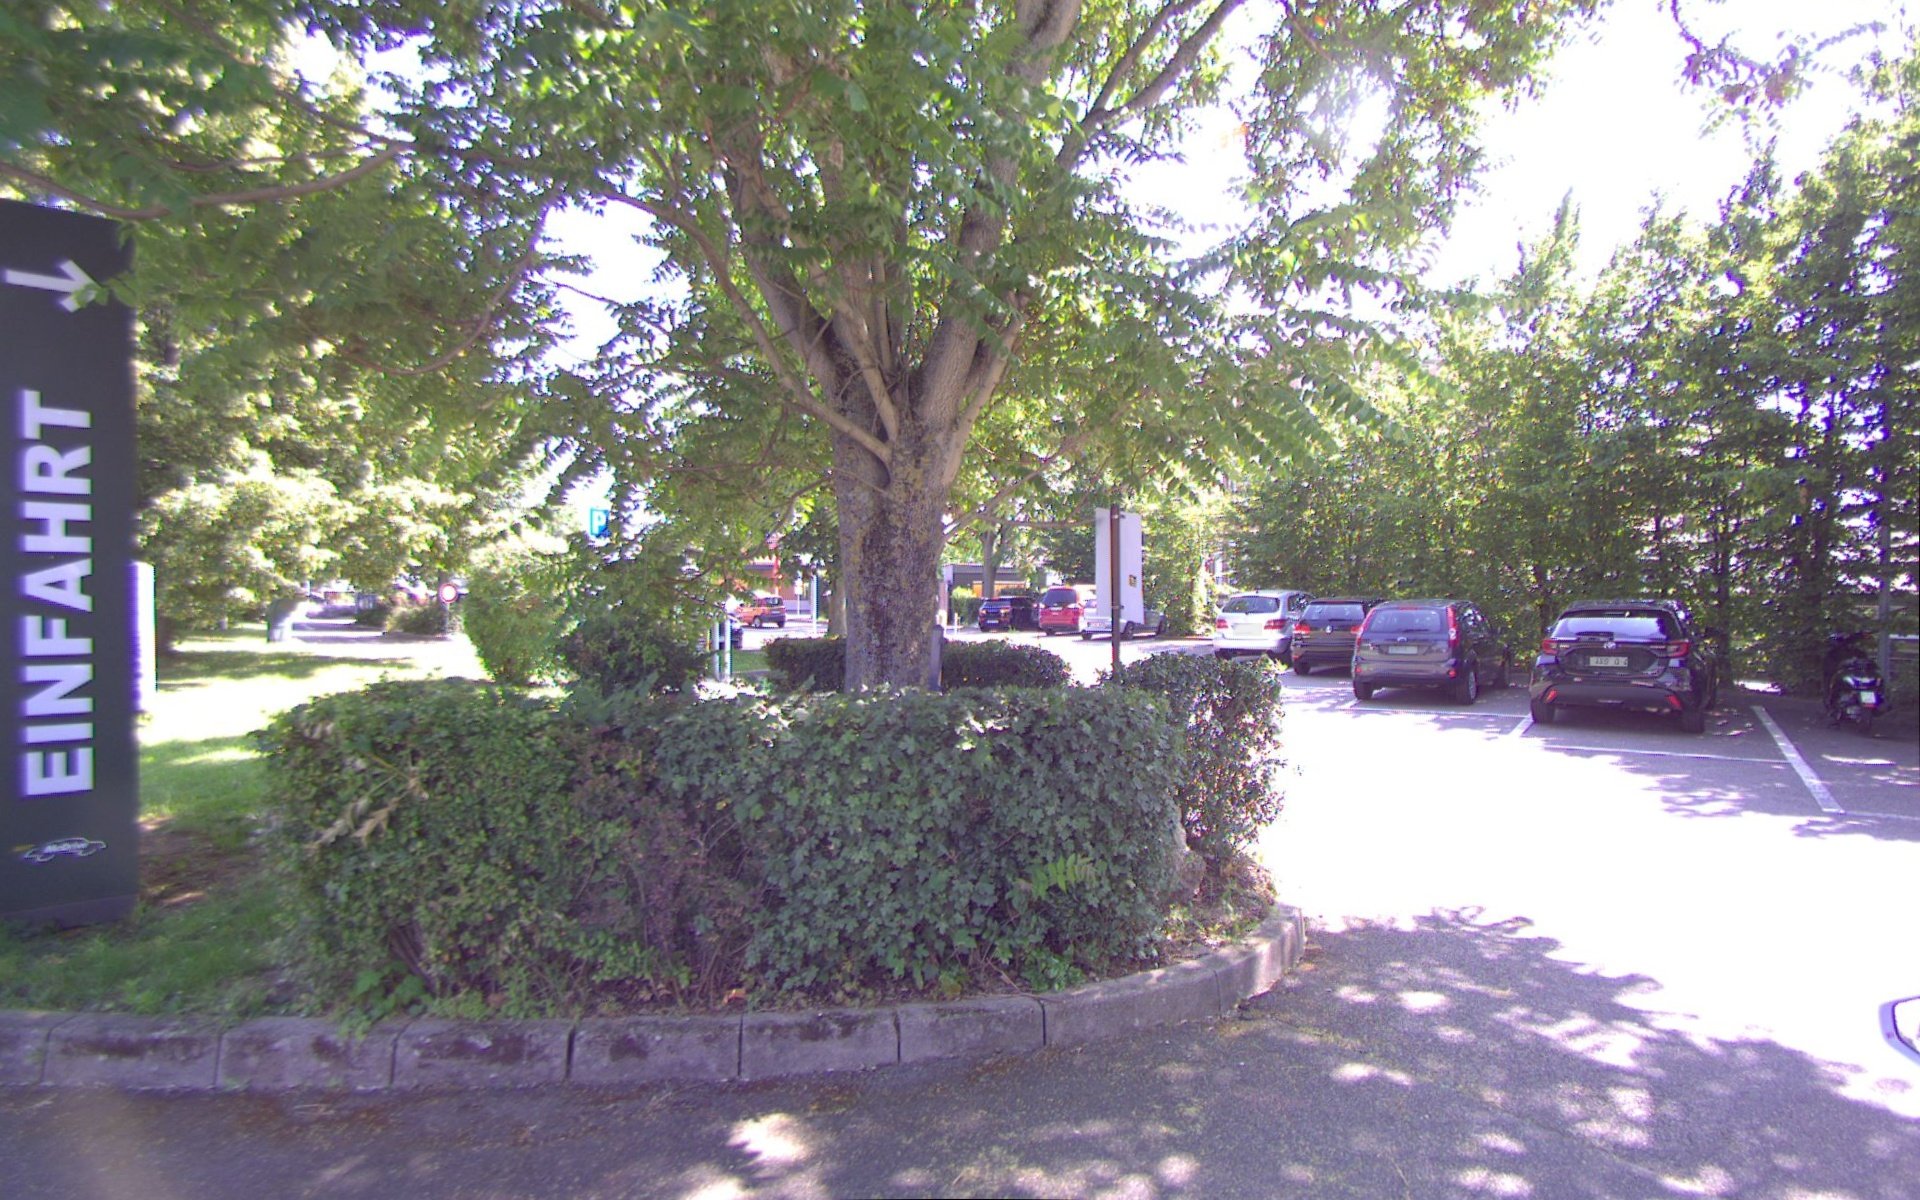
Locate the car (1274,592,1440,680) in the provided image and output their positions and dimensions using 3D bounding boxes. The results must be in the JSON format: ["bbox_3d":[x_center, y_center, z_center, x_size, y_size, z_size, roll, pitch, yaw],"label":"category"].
[{"bbox_3d":[7.927,0.631,19.862,1.749,1.489,3.977,-1,1,42],"label":"car"}]

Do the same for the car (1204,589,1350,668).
[{"bbox_3d":[7.258,0.577,22.800,1.748,1.593,3.979,0,1,41],"label":"car"}]

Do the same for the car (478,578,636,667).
[{"bbox_3d":[-8.758,0.440,21.634,1.848,1.708,4.315,3,-1,-40],"label":"car"}]

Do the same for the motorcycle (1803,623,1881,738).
[{"bbox_3d":[9.950,0.866,11.361,0.467,1.156,1.600,0,1,34],"label":"motorcycle"}]

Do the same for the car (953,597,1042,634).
[{"bbox_3d":[1.565,0.606,40.532,1.745,1.407,3.987,-1,0,35],"label":"car"}]

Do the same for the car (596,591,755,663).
[{"bbox_3d":[-6.566,0.573,22.896,1.848,1.472,4.315,3,-1,-40],"label":"car"}]

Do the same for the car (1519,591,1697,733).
[{"bbox_3d":[8.482,0.676,13.006,1.635,1.489,3.888,-1,1,37],"label":"car"}]

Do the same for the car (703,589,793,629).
[{"bbox_3d":[-10.104,0.384,47.683,4.298,1.709,1.854,1,3,38],"label":"car"}]

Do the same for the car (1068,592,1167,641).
[{"bbox_3d":[5.287,0.519,33.369,1.744,1.495,3.989,-1,0,33],"label":"car"}]

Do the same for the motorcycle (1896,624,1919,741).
[{"bbox_3d":[9.981,0.847,9.939,0.559,1.184,1.604,0,0,24],"label":"motorcycle"}]

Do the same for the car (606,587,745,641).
[{"bbox_3d":[-9.528,0.435,33.950,1.831,1.708,4.354,1,0,34],"label":"car"}]

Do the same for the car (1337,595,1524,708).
[{"bbox_3d":[7.464,0.704,15.736,1.679,1.473,3.980,-1,1,40],"label":"car"}]

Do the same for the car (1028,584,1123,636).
[{"bbox_3d":[4.284,0.341,36.747,1.745,1.757,3.987,-2,0,34],"label":"car"}]
